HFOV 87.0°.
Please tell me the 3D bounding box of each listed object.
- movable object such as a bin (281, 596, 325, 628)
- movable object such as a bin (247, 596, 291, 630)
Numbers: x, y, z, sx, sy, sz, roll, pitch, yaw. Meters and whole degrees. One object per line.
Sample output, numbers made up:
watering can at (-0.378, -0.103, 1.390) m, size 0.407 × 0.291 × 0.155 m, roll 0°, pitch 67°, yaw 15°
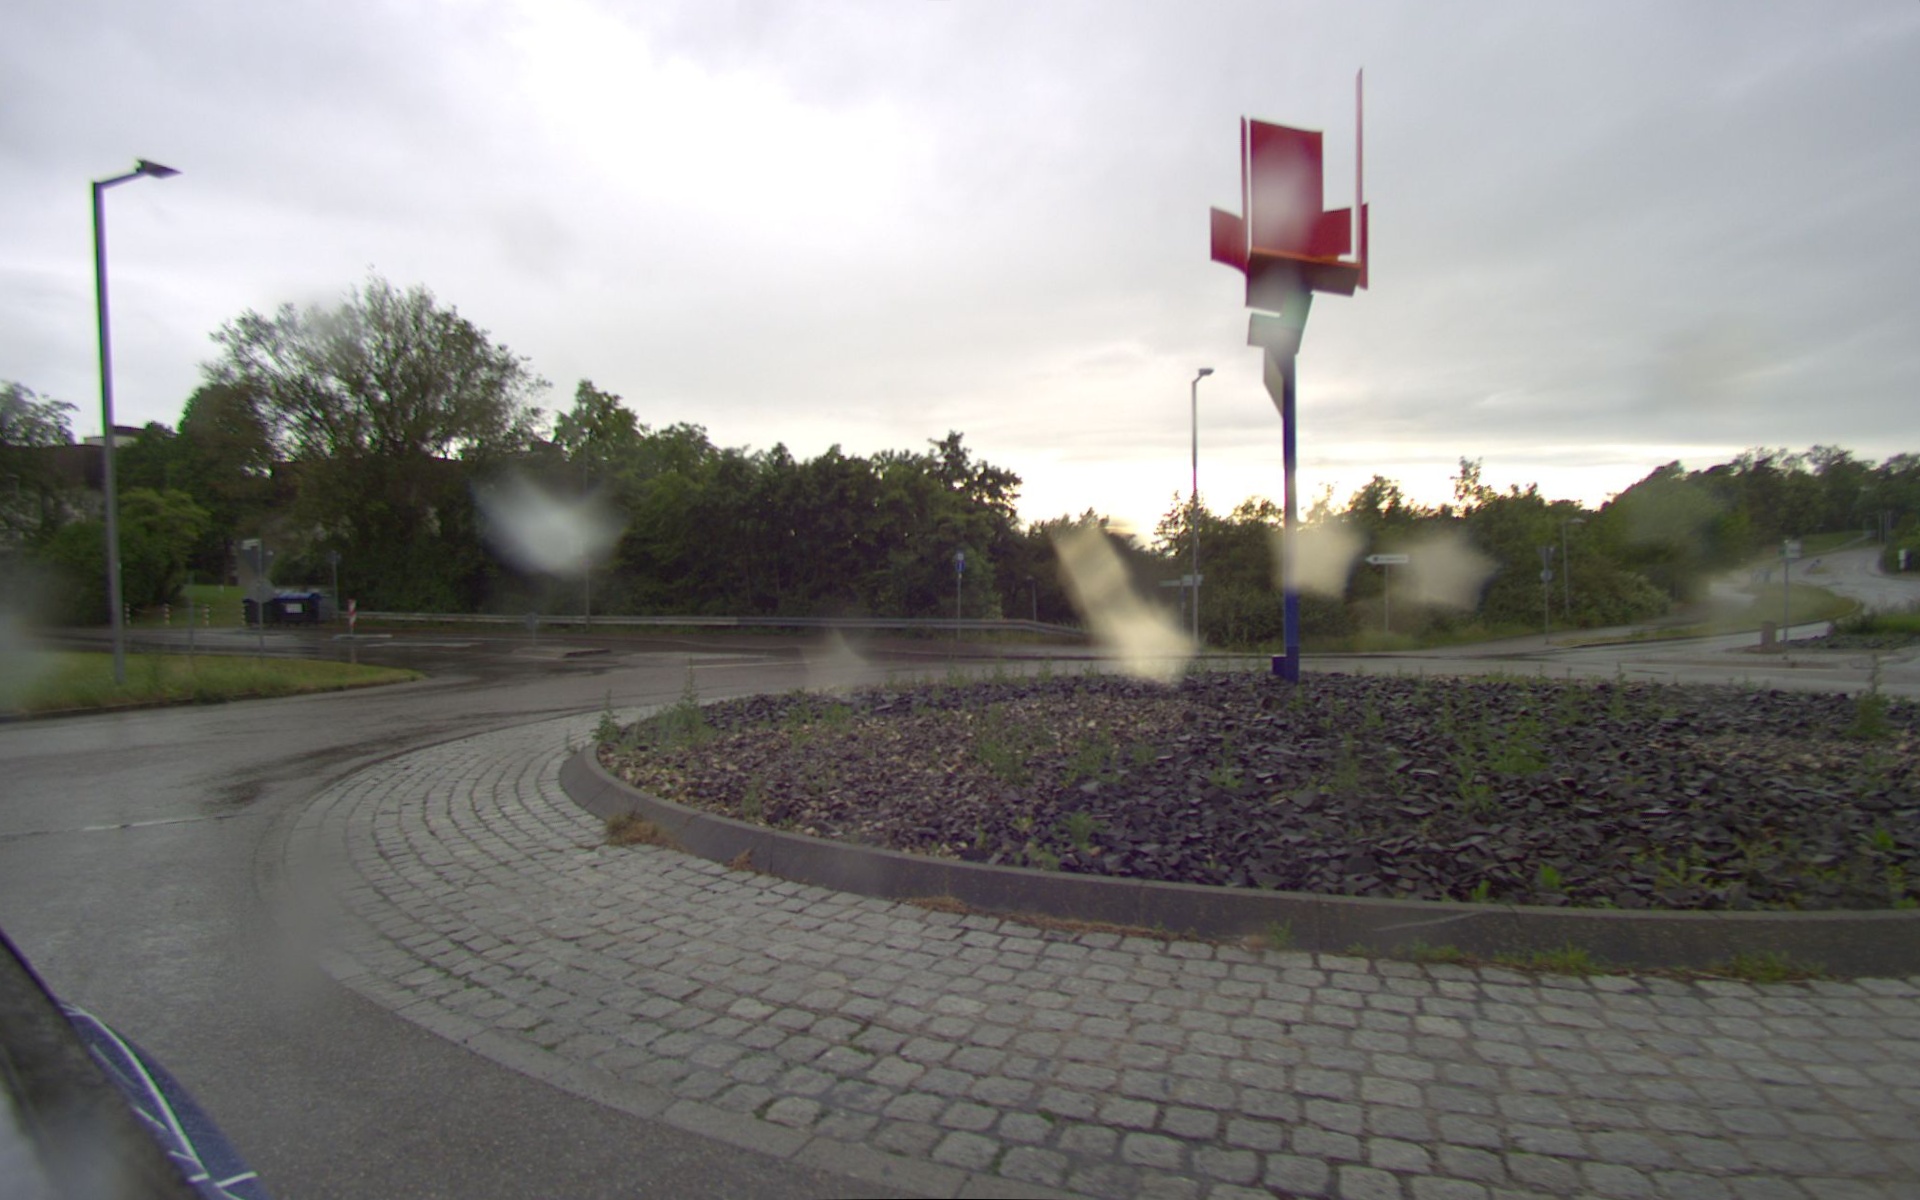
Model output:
movable object such as a bin at (-28.542, 0.513, 43.995) m, size 1.061 × 1.352 × 1.197 m, roll 0°, pitch 3°, yaw 3°
movable object such as a bin at (-29.904, 0.558, 43.813) m, size 1.061 × 1.448 × 1.196 m, roll 1°, pitch 0°, yaw 4°
